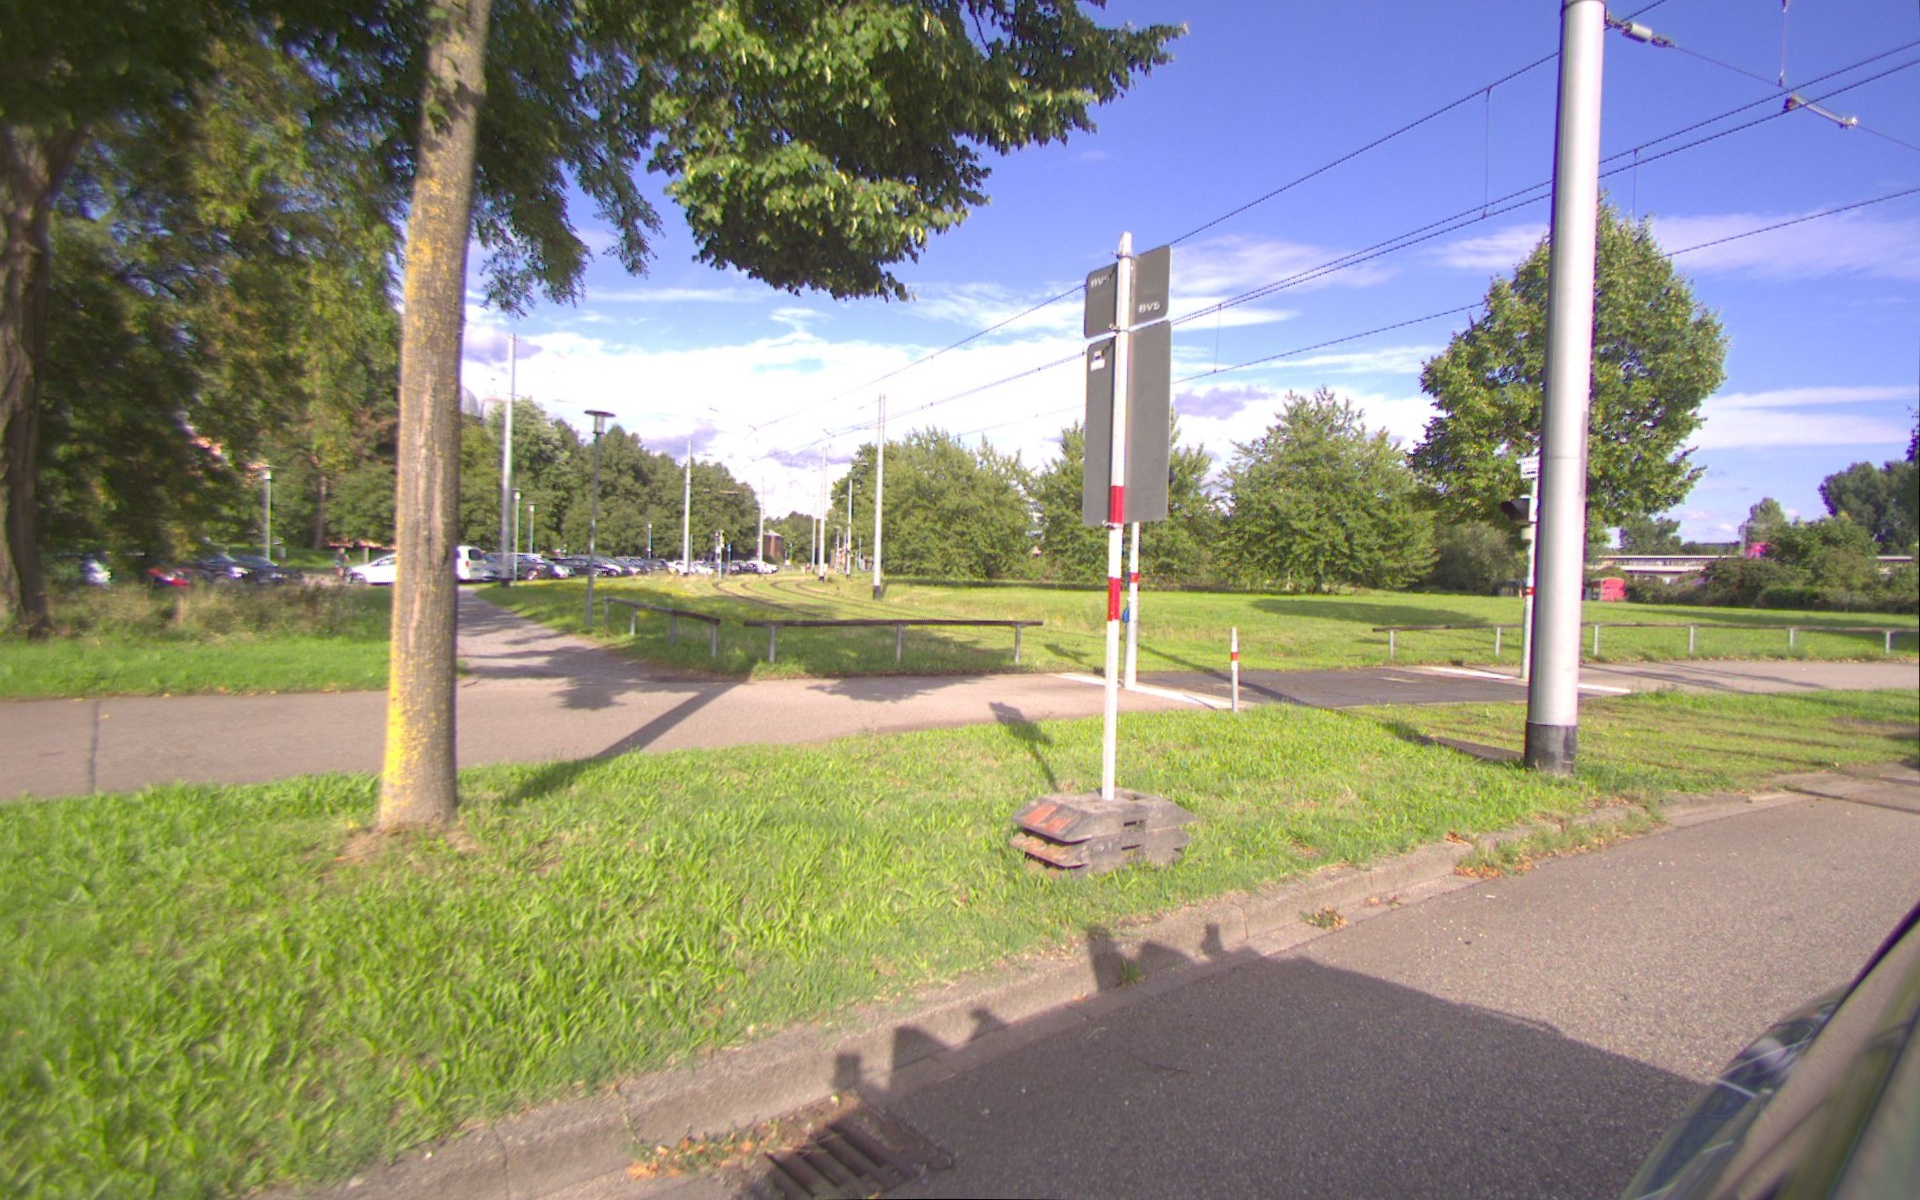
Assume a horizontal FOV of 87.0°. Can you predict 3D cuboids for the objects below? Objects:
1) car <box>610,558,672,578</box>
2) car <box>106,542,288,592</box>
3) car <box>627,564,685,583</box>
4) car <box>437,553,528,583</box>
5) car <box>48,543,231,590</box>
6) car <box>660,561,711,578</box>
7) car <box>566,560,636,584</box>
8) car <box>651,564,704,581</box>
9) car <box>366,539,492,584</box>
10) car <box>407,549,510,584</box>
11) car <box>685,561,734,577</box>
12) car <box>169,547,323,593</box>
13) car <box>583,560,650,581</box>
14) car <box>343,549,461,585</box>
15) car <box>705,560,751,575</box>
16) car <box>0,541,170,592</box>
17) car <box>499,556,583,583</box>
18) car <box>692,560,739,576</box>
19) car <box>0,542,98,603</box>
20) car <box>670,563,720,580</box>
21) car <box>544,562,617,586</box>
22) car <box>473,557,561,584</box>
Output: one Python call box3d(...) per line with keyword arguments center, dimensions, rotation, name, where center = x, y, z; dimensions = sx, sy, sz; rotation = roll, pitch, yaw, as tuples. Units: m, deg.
box3d(center=(-25.655, -2.590, 81.464), dimensions=(4.390, 1.560, 1.857), rotation=(1, 2, 5), name="car")
box3d(center=(-25.809, -1.122, 34.324), dimensions=(4.853, 1.534, 1.861), rotation=(1, 2, 2), name="car")
box3d(center=(-26.002, -2.283, 86.571), dimensions=(4.390, 1.560, 1.857), rotation=(1, 2, 5), name="car")
box3d(center=(-25.721, -1.726, 54.549), dimensions=(4.046, 1.534, 2.031), rotation=(2, 2, 10), name="car")
box3d(center=(-26.022, -1.072, 32.189), dimensions=(4.386, 1.379, 1.861), rotation=(1, 2, 2), name="car")
box3d(center=(-26.300, -2.926, 97.011), dimensions=(4.401, 1.560, 1.853), rotation=(2, 2, 13), name="car")
box3d(center=(-25.565, -2.005, 72.109), dimensions=(4.390, 1.560, 1.857), rotation=(1, 2, 5), name="car")
box3d(center=(-26.141, -2.556, 93.729), dimensions=(4.387, 1.493, 1.799), rotation=(1, 2, 3), name="car")
box3d(center=(-25.775, -1.869, 49.243), dimensions=(5.023, 2.032, 2.315), rotation=(1, 2, 5), name="car")
box3d(center=(-25.910, -1.739, 52.339), dimensions=(4.397, 1.695, 2.097), rotation=(2, 2, 10), name="car")
box3d(center=(-25.358, -3.163, 102.415), dimensions=(4.401, 1.560, 1.853), rotation=(2, 2, 13), name="car")
box3d(center=(-26.003, -1.101, 36.938), dimensions=(4.386, 1.534, 1.861), rotation=(1, 2, 2), name="car")
box3d(center=(-25.772, -2.237, 76.036), dimensions=(4.390, 1.471, 1.857), rotation=(1, 2, 5), name="car")
box3d(center=(-25.542, -1.534, 46.453), dimensions=(4.379, 1.534, 1.864), rotation=(1, 2, -6), name="car")
box3d(center=(-24.855, -3.479, 108.451), dimensions=(4.401, 1.560, 1.853), rotation=(2, 2, 13), name="car")
box3d(center=(-26.189, -0.989, 29.633), dimensions=(4.744, 1.374, 1.861), rotation=(1, 2, 2), name="car")
box3d(center=(-25.524, -1.860, 61.706), dimensions=(4.390, 1.523, 1.859), rotation=(1, 2, 5), name="car")
box3d(center=(-25.494, -3.378, 105.666), dimensions=(4.401, 1.560, 1.853), rotation=(2, 2, 13), name="car")
box3d(center=(-25.852, -0.775, 26.752), dimensions=(4.660, 1.534, 1.861), rotation=(1, 2, 2), name="car")
box3d(center=(-26.115, -2.815, 99.688), dimensions=(4.401, 1.560, 1.853), rotation=(2, 2, 13), name="car")
box3d(center=(-26.056, -1.802, 69.521), dimensions=(4.390, 1.534, 1.801), rotation=(1, 2, 5), name="car")
box3d(center=(-25.797, -1.734, 58.976), dimensions=(4.390, 1.416, 1.859), rotation=(1, 2, 5), name="car")
